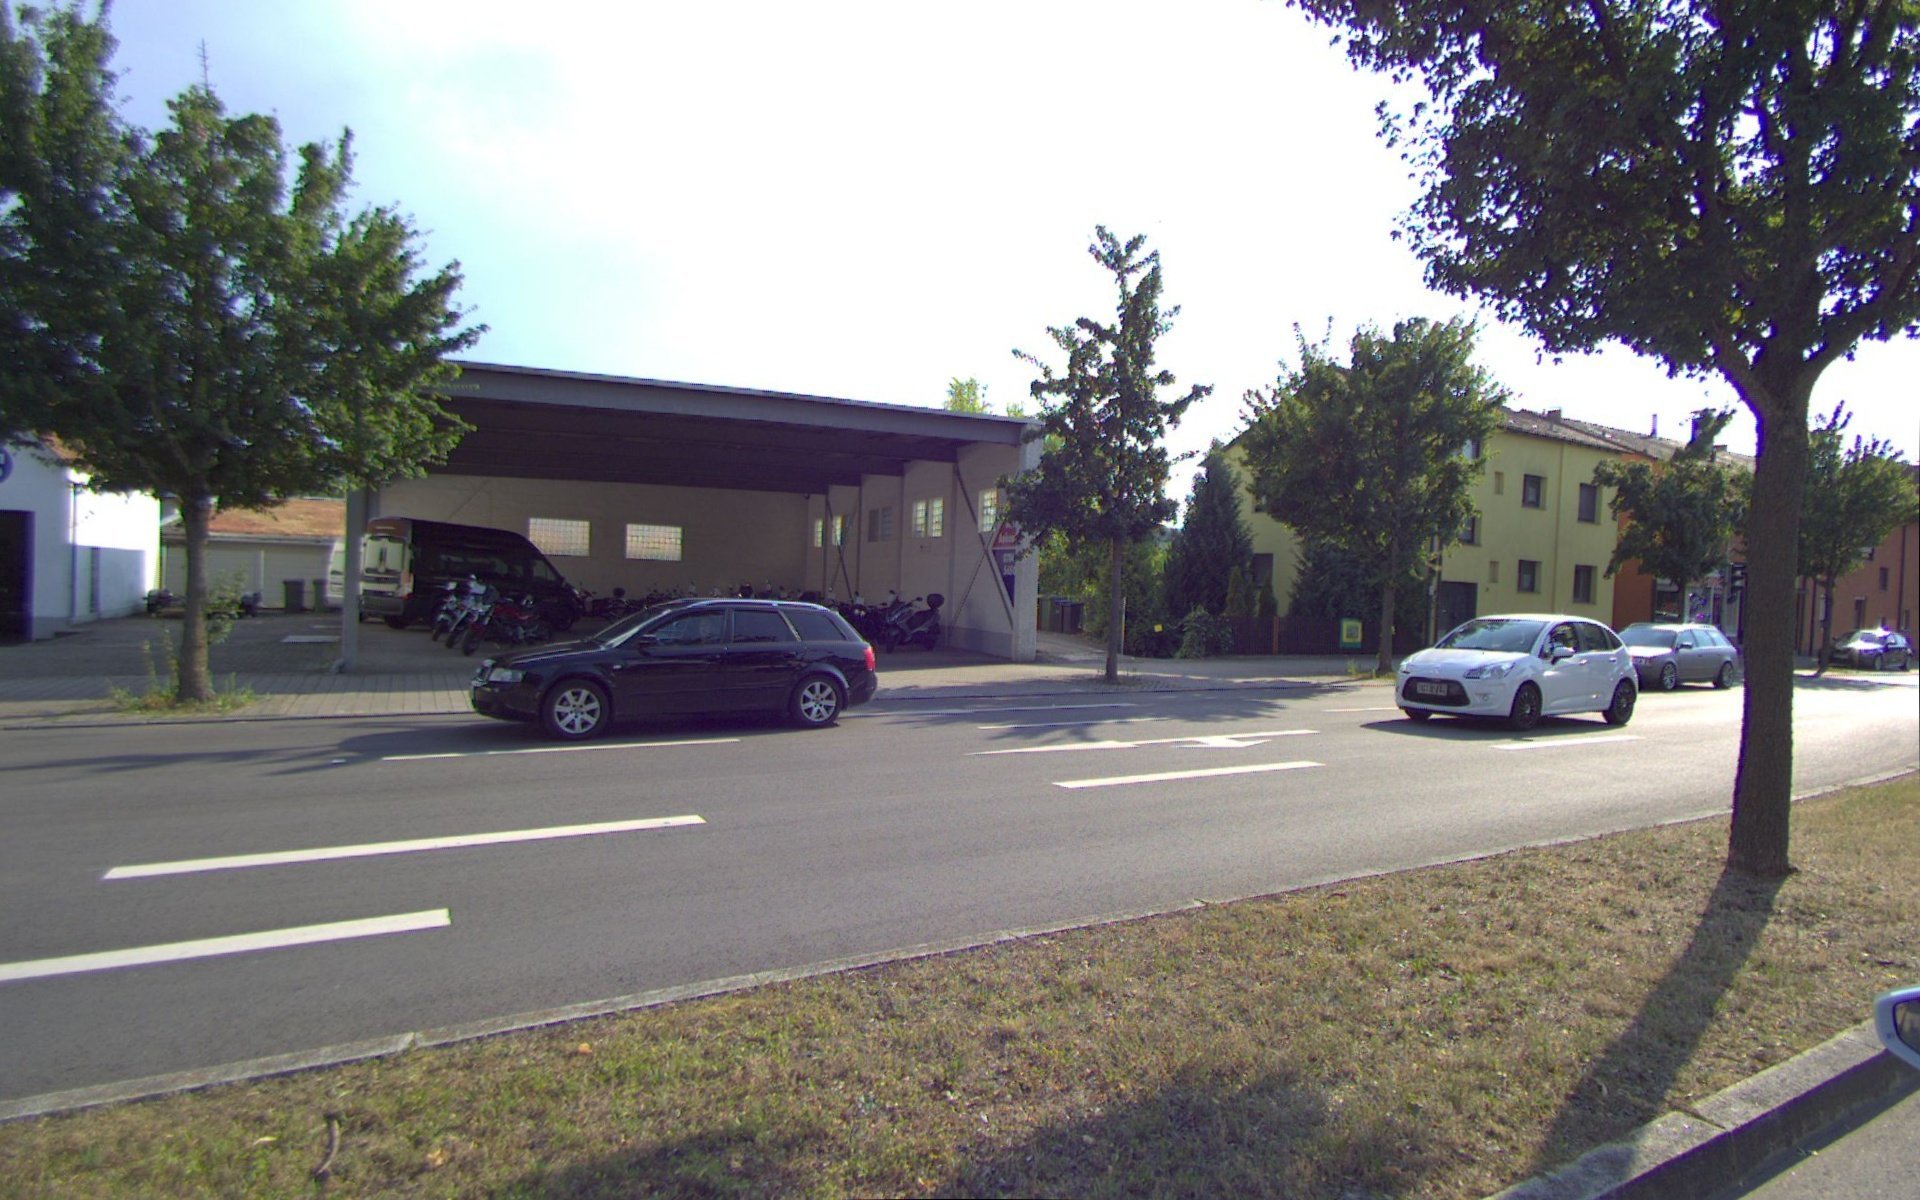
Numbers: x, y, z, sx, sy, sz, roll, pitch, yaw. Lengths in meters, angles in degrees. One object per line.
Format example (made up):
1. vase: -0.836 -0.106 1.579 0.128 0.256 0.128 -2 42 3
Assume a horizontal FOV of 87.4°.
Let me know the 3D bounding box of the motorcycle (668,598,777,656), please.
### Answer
1. motorcycle: -4.966 0.558 21.111 2.112 1.139 0.631 2 0 0

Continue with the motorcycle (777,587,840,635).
1. motorcycle: -4.319 0.318 28.752 0.573 1.325 2.086 2 0 30

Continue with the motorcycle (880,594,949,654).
1. motorcycle: -1.034 0.547 23.474 0.553 1.325 2.112 2 0 30

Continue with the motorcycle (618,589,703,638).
1. motorcycle: -8.260 0.363 27.733 2.112 1.275 0.647 2 0 0

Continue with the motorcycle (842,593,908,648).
1. motorcycle: -2.116 0.515 25.364 0.553 1.325 2.086 2 0 30

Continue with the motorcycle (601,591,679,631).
1. motorcycle: -9.541 0.322 29.962 2.112 1.138 0.563 2 0 0

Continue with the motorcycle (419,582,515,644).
1. motorcycle: -11.082 0.293 22.655 0.637 1.329 2.007 2 0 23

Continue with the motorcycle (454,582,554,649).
1. motorcycle: -9.623 0.322 21.276 0.637 1.329 2.007 2 0 23

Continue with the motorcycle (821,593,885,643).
1. motorcycle: -2.920 0.491 27.611 0.612 1.325 2.086 2 0 30

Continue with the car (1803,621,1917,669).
1. car: 33.495 1.656 37.363 3.950 1.573 1.835 2 2 -28

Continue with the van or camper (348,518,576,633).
1. van or camper: -12.835 -0.563 26.242 1.966 2.716 5.025 2 0 33

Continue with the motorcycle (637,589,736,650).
1. motorcycle: -6.320 0.443 23.273 2.112 1.347 0.563 2 0 0

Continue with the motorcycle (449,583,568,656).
1. motorcycle: -8.650 0.374 19.307 0.659 1.329 2.000 2 0 36

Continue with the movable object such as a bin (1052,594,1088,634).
1. movable object such as a bin: 3.221 0.401 29.418 0.688 1.101 0.727 1 3 -30

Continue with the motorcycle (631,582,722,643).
1. motorcycle: -7.217 0.311 25.619 2.112 1.468 0.594 2 0 0

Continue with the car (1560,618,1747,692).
1. car: 15.827 1.215 22.854 4.656 1.482 1.678 2 0 -30

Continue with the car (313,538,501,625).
1. car: -15.771 -0.501 28.921 2.158 2.279 4.386 2 0 19

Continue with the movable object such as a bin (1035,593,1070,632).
1. movable object such as a bin: 2.775 0.369 30.186 0.712 1.101 0.727 1 3 -30

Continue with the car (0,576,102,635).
1. car: -24.058 0.108 26.014 1.862 1.403 4.054 2 0 -27

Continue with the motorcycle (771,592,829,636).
1. motorcycle: -4.926 0.428 31.036 0.553 1.325 2.086 2 0 30

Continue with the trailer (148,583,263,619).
1. trailer: -21.869 0.023 29.260 2.425 0.836 3.163 2 2 -33

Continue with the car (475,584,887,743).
1. car: -3.120 0.644 11.439 4.196 1.517 1.798 2 0 -30

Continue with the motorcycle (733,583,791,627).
1. motorcycle: -6.255 0.159 31.872 0.553 1.325 2.086 2 0 30

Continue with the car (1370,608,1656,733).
1. car: 7.866 0.930 14.231 3.909 1.517 1.792 2 0 -30
